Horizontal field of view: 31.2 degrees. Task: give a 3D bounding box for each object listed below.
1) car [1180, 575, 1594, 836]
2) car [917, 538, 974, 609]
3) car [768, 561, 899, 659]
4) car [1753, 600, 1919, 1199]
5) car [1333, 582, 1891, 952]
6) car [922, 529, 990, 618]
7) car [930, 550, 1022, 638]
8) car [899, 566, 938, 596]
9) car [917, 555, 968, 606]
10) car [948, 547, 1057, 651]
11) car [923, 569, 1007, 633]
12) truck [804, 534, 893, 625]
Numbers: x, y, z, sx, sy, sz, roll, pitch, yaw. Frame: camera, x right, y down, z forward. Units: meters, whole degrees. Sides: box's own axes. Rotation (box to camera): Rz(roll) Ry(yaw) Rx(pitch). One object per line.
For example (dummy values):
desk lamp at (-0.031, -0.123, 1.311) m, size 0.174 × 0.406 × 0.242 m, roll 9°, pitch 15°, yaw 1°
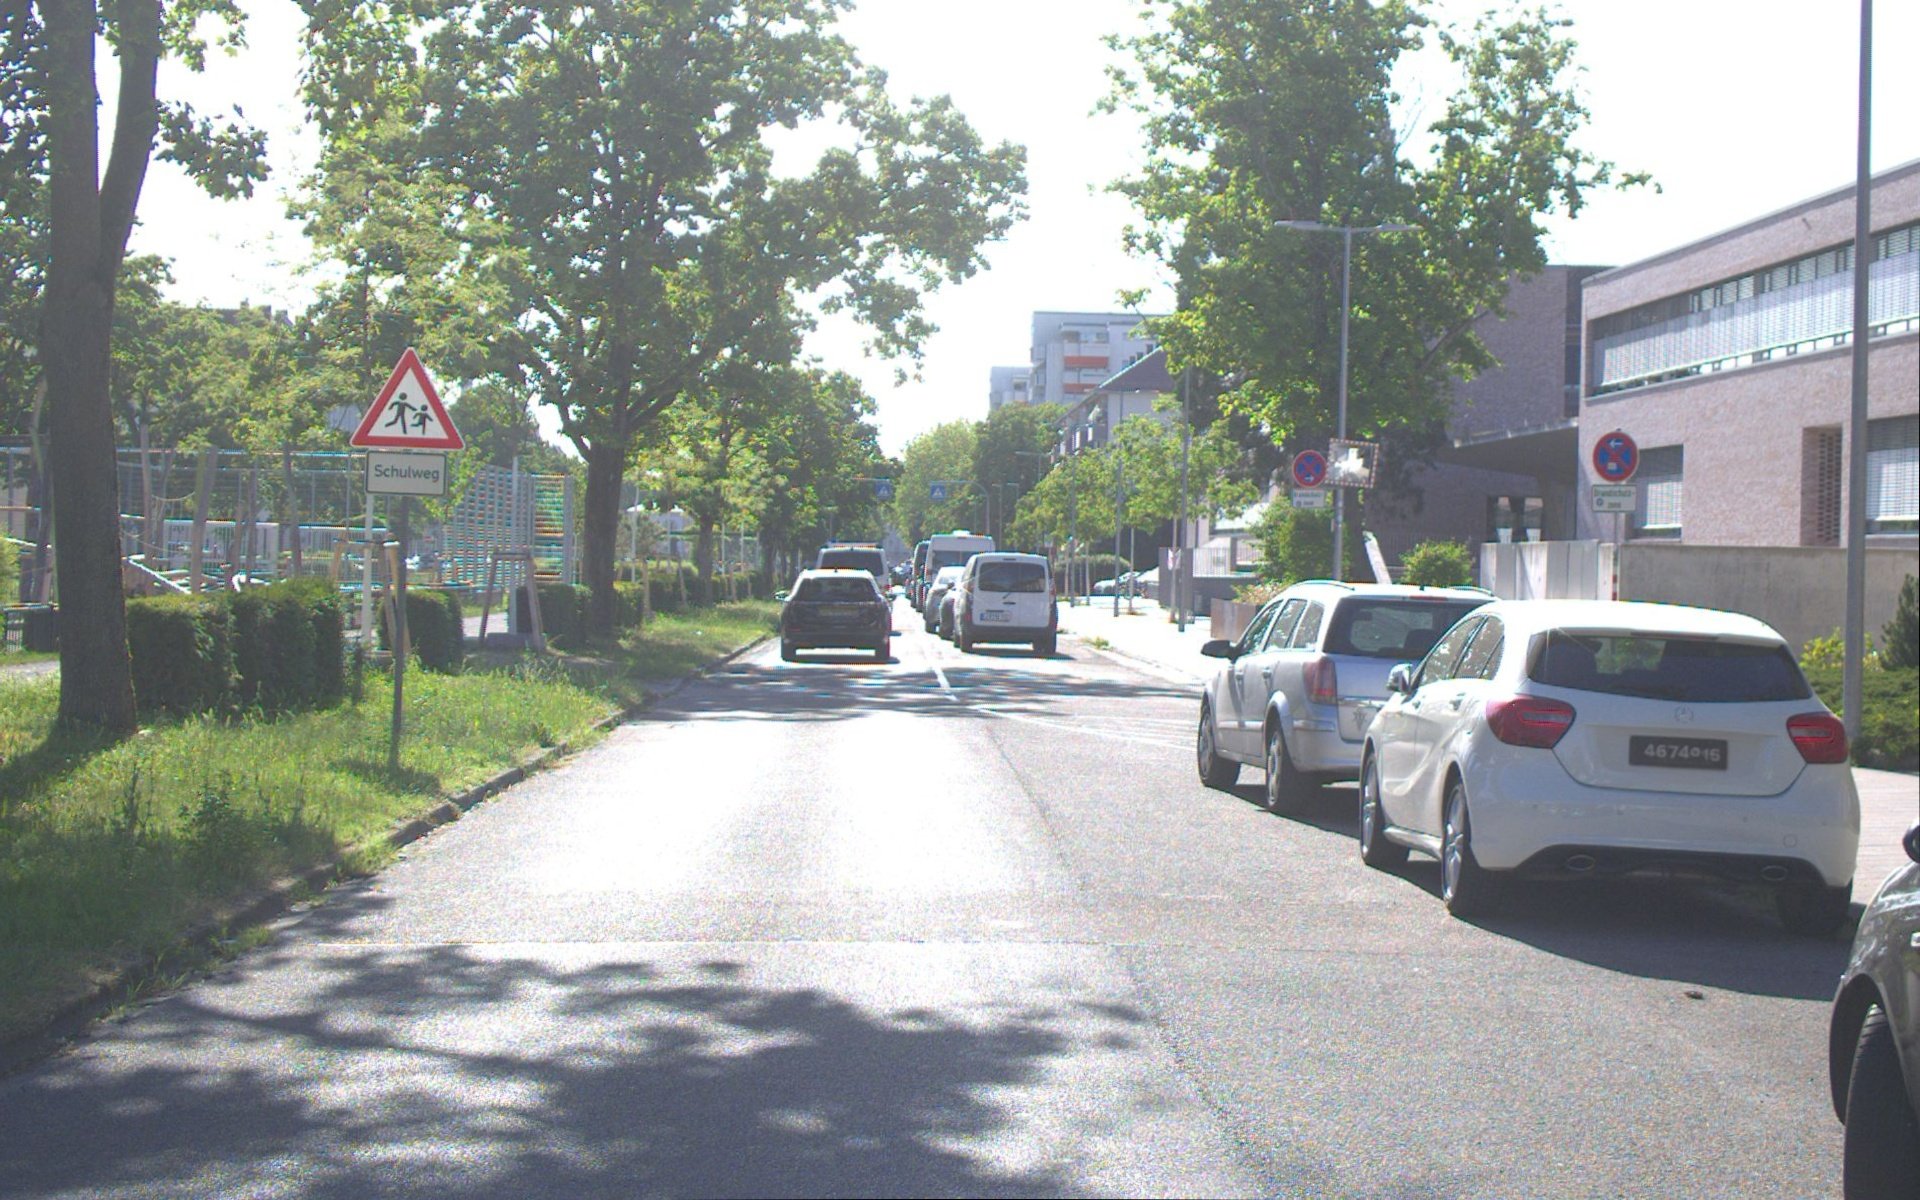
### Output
car at (2.724, 0.631, 22.844) m, size 1.795 × 1.489 × 4.001 m, roll 2°, pitch 1°, yaw -6°
car at (-0.519, -0.917, 117.745) m, size 1.817 × 2.345 × 4.000 m, roll 1°, pitch 1°, yaw -2°
car at (-2.157, 0.131, 57.331) m, size 1.993 × 1.519 × 4.756 m, roll 1°, pitch 1°, yaw -4°
car at (2.864, 0.800, 6.561) m, size 1.671 × 1.489 × 3.826 m, roll 2°, pitch 1°, yaw -2°
car at (3.010, 0.708, 16.713) m, size 1.795 × 1.489 × 4.000 m, roll 2°, pitch 1°, yaw -2°
car at (-0.131, -0.788, 100.578) m, size 1.817 × 2.509 × 4.000 m, roll 1°, pitch 1°, yaw -2°
car at (0.315, -0.150, 74.505) m, size 1.817 × 1.824 × 4.000 m, roll 1°, pitch 1°, yaw -2°
car at (-1.997, -0.899, 164.311) m, size 1.817 × 1.354 × 4.000 m, roll 1°, pitch 1°, yaw -2°
car at (-0.682, -0.749, 129.642) m, size 1.817 × 1.828 × 4.000 m, roll 1°, pitch 1°, yaw -2°
car at (0.762, -0.042, 64.062) m, size 1.817 × 1.824 × 4.000 m, roll 1°, pitch 1°, yaw -2°
car at (0.088, 0.003, 80.228) m, size 1.817 × 1.395 × 4.000 m, roll 1°, pitch 1°, yaw -2°
truck at (-2.618, -0.499, 80.831) m, size 1.993 × 2.029 × 4.875 m, roll 1°, pitch 1°, yaw -2°
